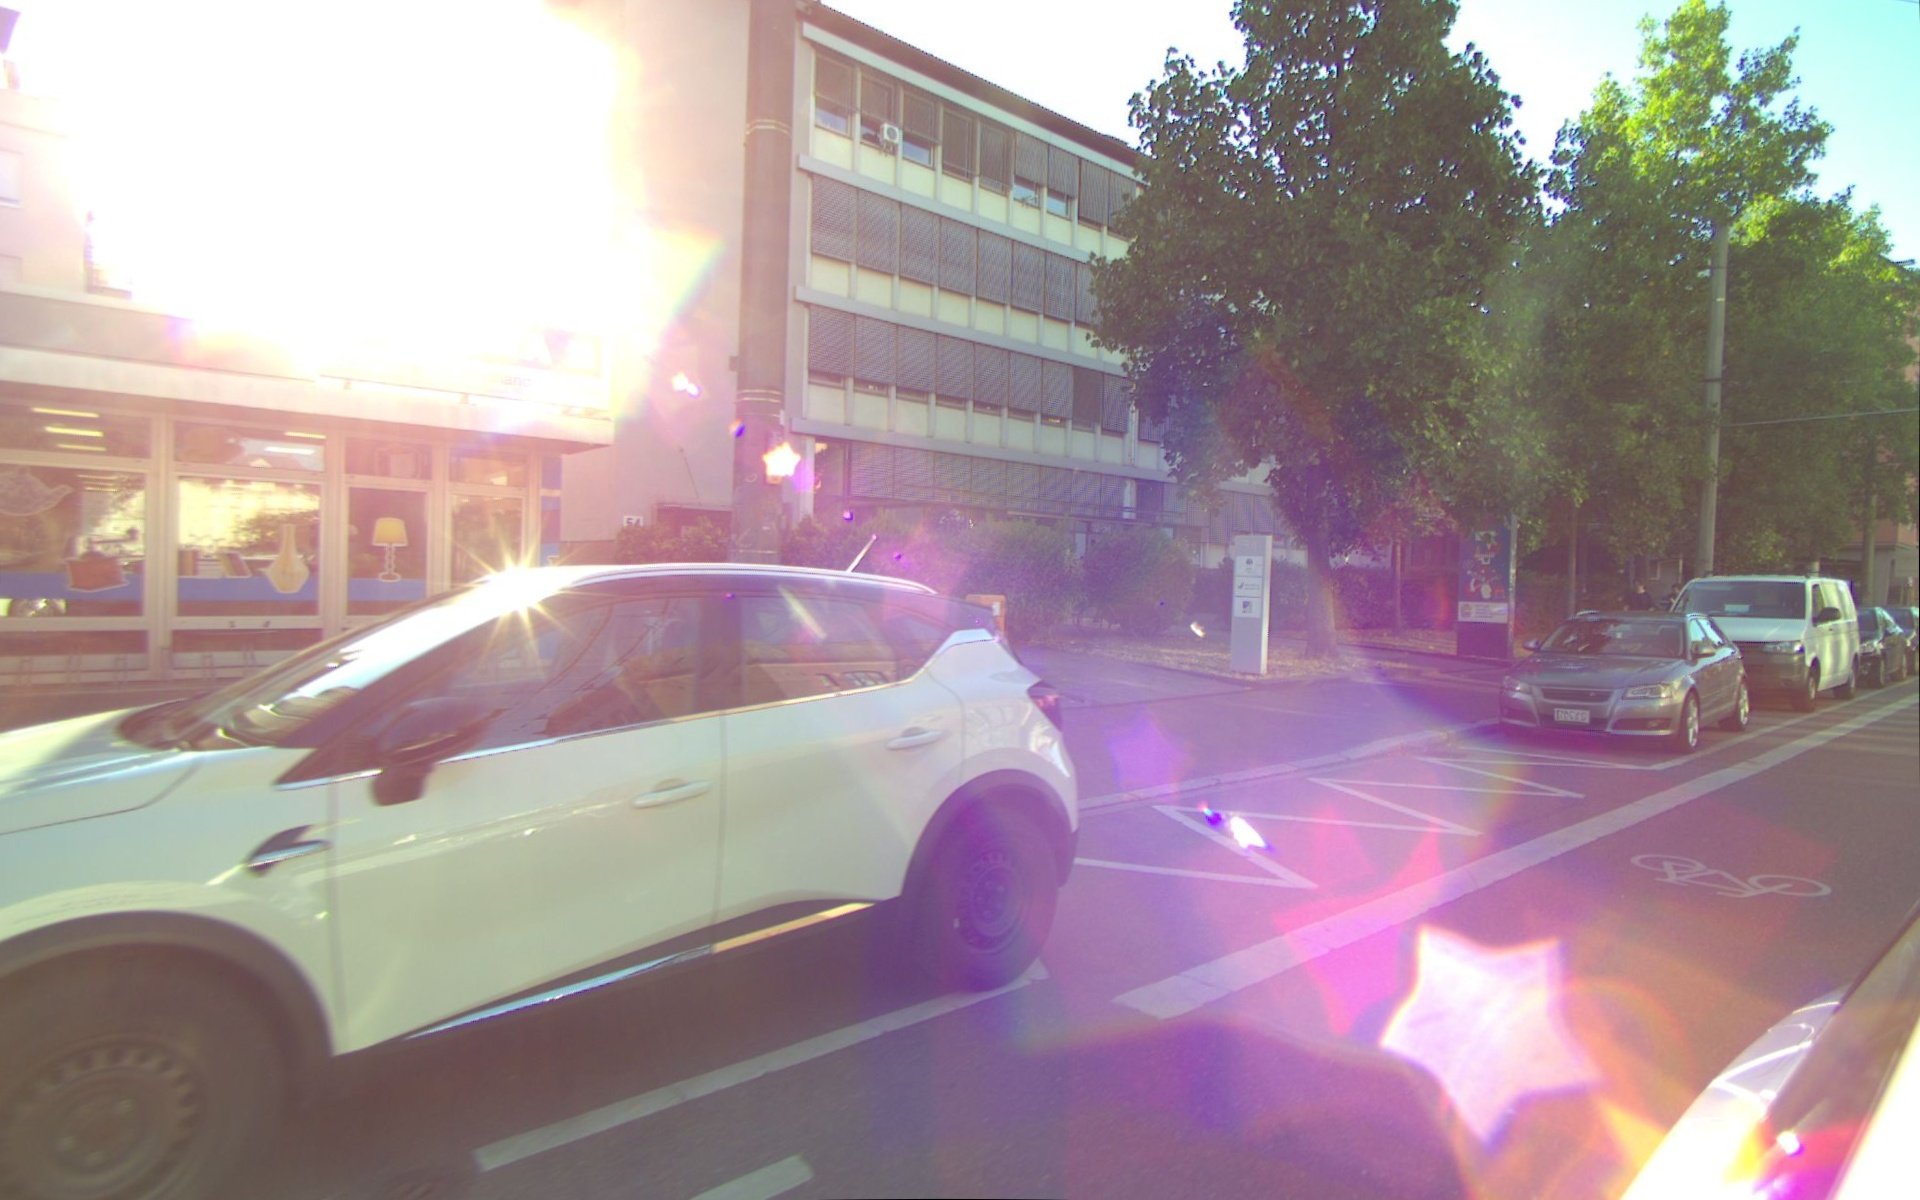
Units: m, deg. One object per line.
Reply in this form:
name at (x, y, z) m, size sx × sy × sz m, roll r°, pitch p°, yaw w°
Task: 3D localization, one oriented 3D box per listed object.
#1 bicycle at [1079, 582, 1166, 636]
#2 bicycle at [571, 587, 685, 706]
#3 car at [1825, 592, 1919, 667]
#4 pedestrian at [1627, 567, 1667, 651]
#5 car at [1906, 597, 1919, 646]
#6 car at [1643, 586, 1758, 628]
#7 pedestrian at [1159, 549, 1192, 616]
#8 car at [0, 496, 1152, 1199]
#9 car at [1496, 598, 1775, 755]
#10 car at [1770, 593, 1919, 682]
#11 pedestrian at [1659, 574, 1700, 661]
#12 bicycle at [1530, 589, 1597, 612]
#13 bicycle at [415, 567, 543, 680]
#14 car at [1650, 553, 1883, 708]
bicycle at (3.153, 0.161, 19.685) m, size 1.601 × 0.971 × 0.366 m, roll 2°, pitch 2°, yaw 22°
bicycle at (-3.610, 0.451, 10.891) m, size 0.461 × 1.109 × 1.885 m, roll 0°, pitch 2°, yaw -41°
car at (20.820, 0.616, 22.582) m, size 3.830 × 1.513 × 1.597 m, roll 1°, pitch 1°, yaw -38°
pedestrian at (14.561, 0.185, 21.454) m, size 0.429 × 1.734 × 0.494 m, roll 1°, pitch 4°, yaw -40°
car at (29.999, 0.660, 30.474) m, size 4.138 × 1.446 × 1.783 m, roll 1°, pitch 1°, yaw -41°
car at (37.164, 0.322, 50.890) m, size 1.562 × 1.692 × 4.363 m, roll 0°, pitch 4°, yaw -43°
pedestrian at (5.587, -0.459, 26.235) m, size 0.537 × 1.710 × 0.569 m, roll 1°, pitch 2°, yaw -34°
car at (-1.392, 0.597, 3.636) m, size 4.248 × 1.616 × 1.791 m, roll 0°, pitch 0°, yaw -39°
car at (7.780, 0.713, 11.507) m, size 4.095 × 1.422 × 1.677 m, roll -1°, pitch 1°, yaw -42°
car at (17.067, 0.643, 19.379) m, size 3.841 × 1.511 × 1.687 m, roll -1°, pitch 1°, yaw -40°
pedestrian at (14.875, 0.357, 20.931) m, size 0.429 × 1.734 × 0.494 m, roll 1°, pitch 4°, yaw -40°
bicycle at (30.965, 0.017, 51.962) m, size 0.809 × 1.071 × 2.800 m, roll 0°, pitch 2°, yaw -44°
bicycle at (-5.508, 0.225, 11.527) m, size 2.015 × 1.109 × 0.627 m, roll 5°, pitch 3°, yaw 44°
car at (12.539, 0.393, 15.618) m, size 4.818 × 2.047 × 1.881 m, roll 0°, pitch 1°, yaw -40°
